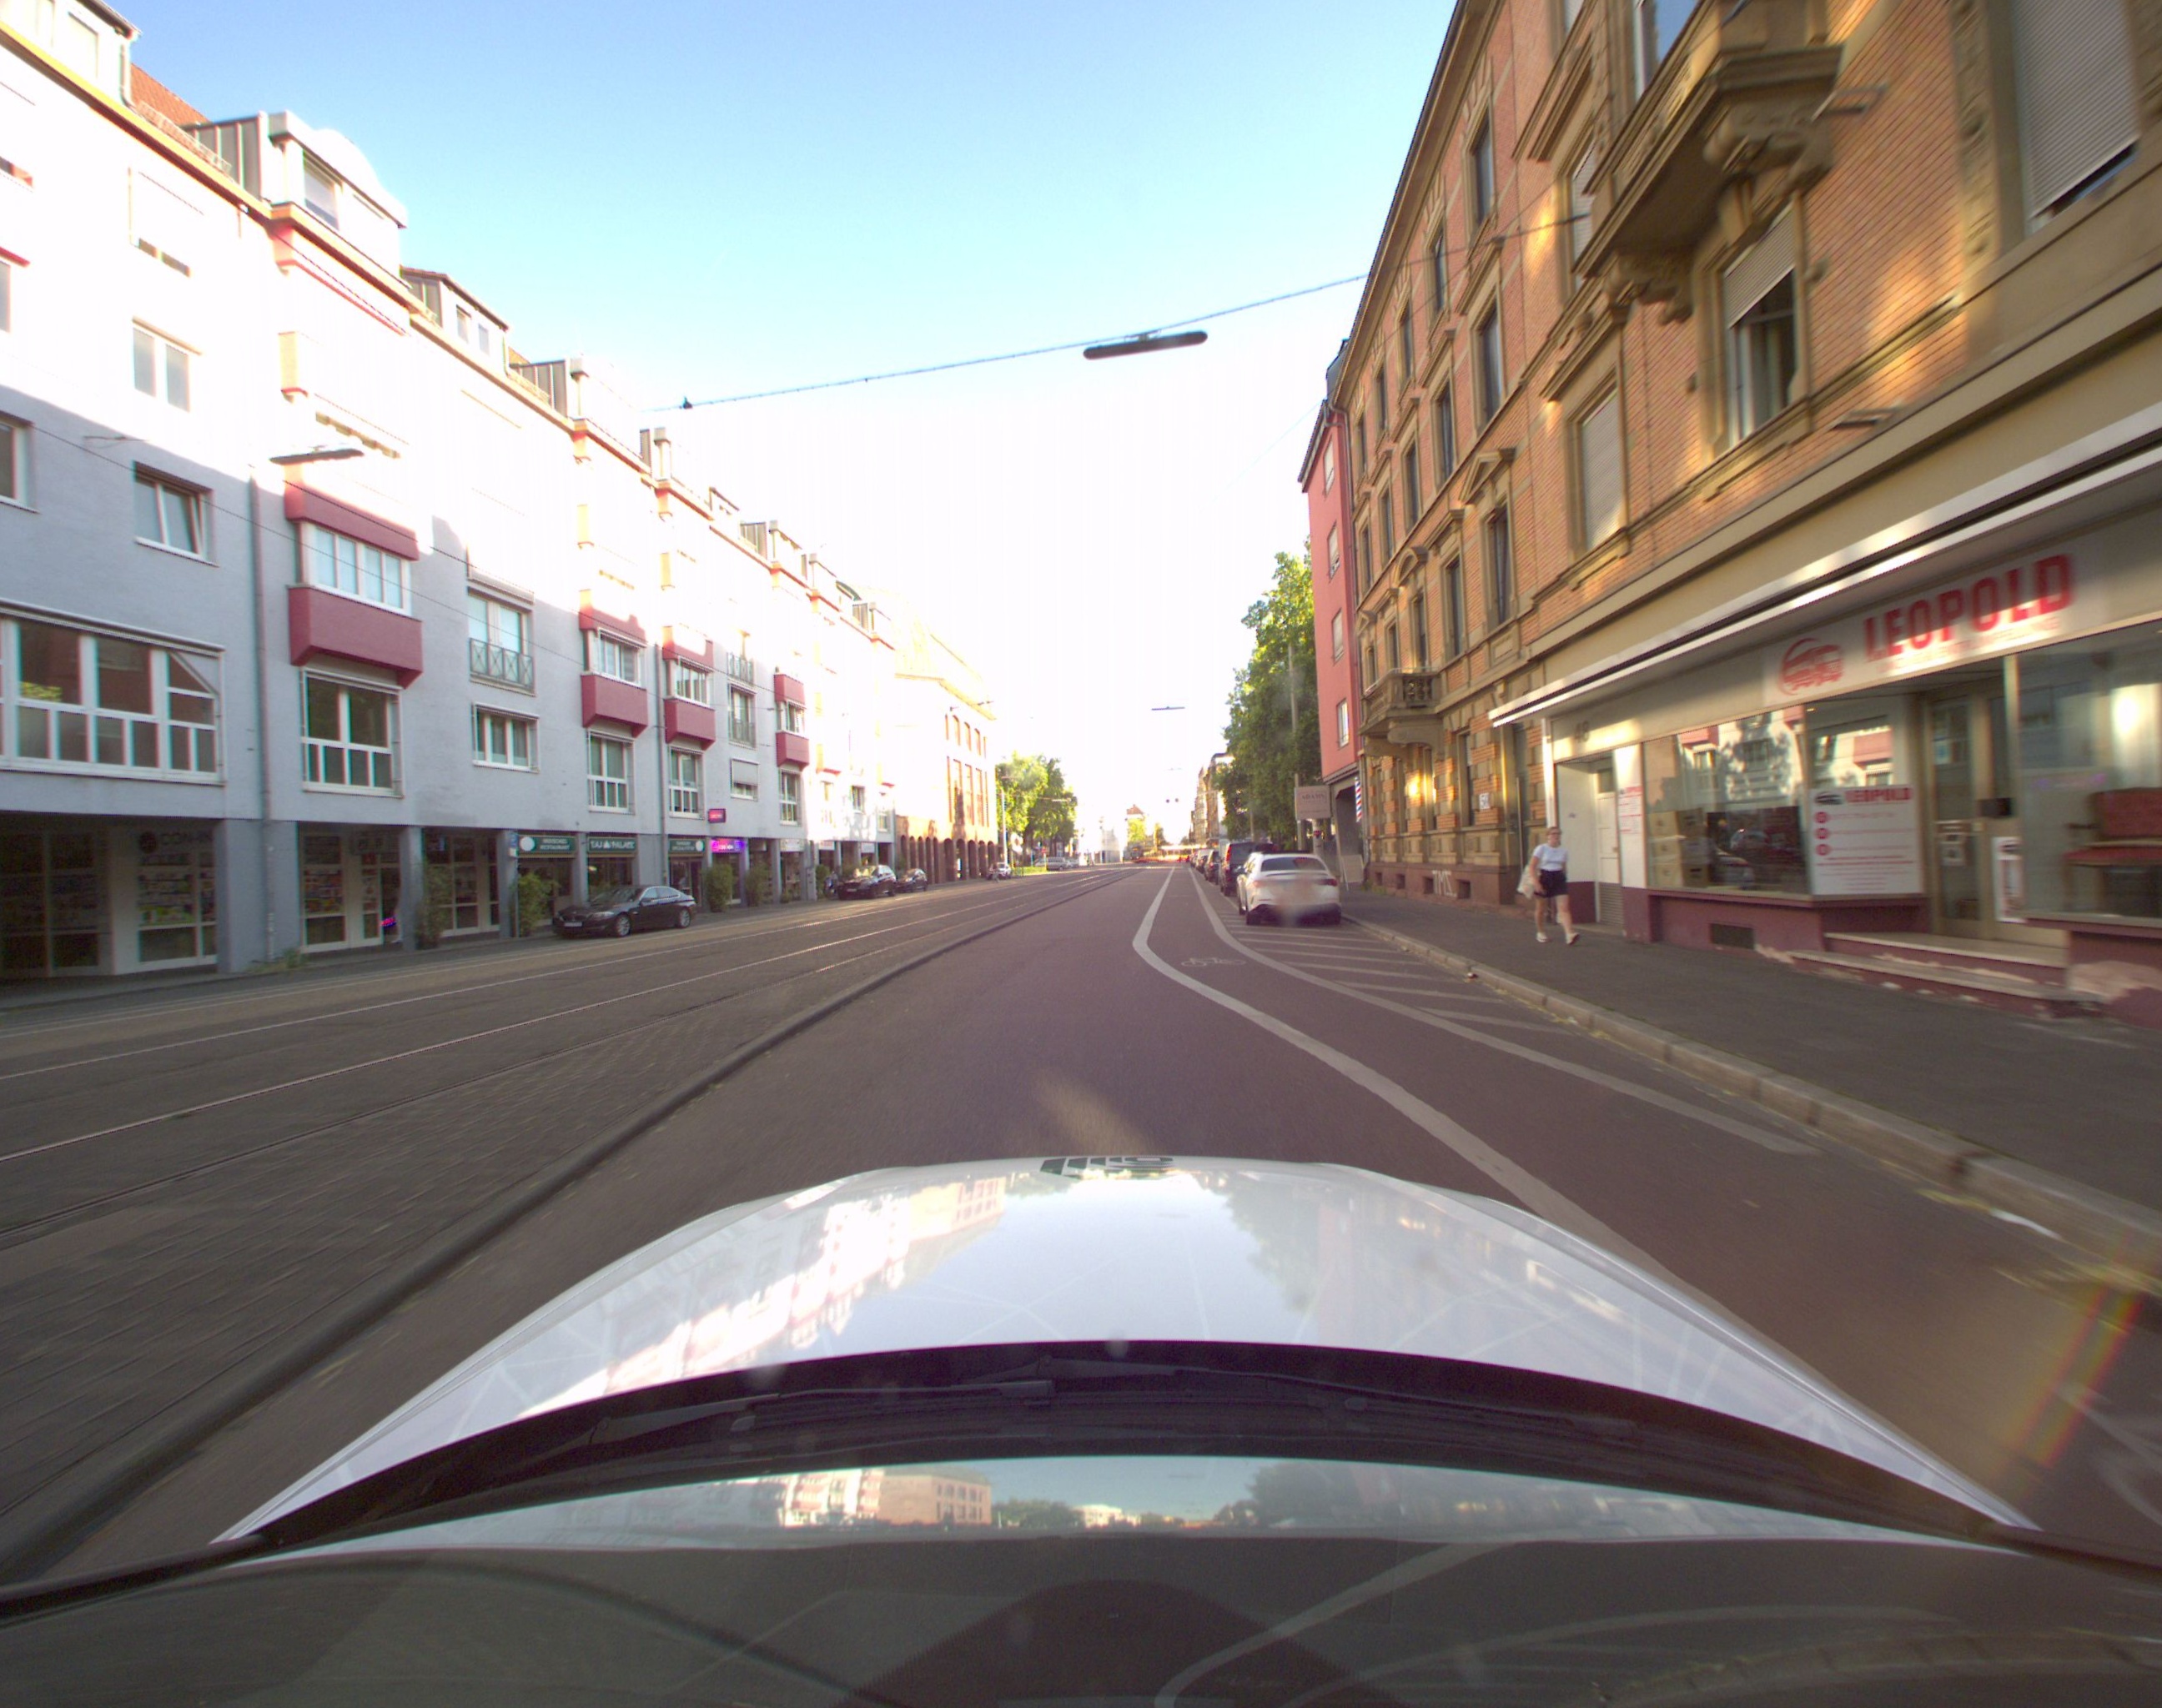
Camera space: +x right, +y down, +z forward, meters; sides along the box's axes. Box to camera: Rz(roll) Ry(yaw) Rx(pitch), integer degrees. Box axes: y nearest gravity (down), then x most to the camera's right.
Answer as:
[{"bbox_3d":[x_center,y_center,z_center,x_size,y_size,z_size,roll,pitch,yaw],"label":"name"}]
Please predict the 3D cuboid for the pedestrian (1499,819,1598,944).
[{"bbox_3d":[6.325,0.358,11.067,0.771,1.567,0.916,-6,-1,10],"label":"pedestrian"}]

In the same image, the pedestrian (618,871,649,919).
[{"bbox_3d":[-16.336,1.483,29.759,0.611,1.712,0.746,-2,0,5],"label":"pedestrian"}]

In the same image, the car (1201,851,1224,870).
[{"bbox_3d":[10.382,0.509,64.412,1.612,1.431,3.993,-2,0,7],"label":"car"}]

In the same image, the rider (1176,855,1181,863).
[{"bbox_3d":[18.183,0.960,152.282,0.879,1.481,0.714,0,0,8],"label":"rider"}]

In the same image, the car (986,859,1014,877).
[{"bbox_3d":[-7.679,1.279,77.540,1.861,1.600,4.259,-2,0,4],"label":"car"}]

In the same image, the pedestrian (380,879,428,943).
[{"bbox_3d":[-18.691,1.564,22.494,0.740,1.712,0.616,-2,0,3],"label":"pedestrian"}]

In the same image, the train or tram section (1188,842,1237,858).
[{"bbox_3d":[30.462,-0.933,188.394,11.281,3.752,2.684,0,0,-18],"label":"train or tram section"}]

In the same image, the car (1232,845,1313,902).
[{"bbox_3d":[5.428,0.519,23.563,1.722,1.496,3.967,-1,0,5],"label":"car"}]

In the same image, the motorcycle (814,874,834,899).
[{"bbox_3d":[-13.236,1.664,41.931,0.669,1.205,2.133,-1,-1,-10],"label":"motorcycle"}]

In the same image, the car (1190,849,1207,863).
[{"bbox_3d":[13.549,0.237,93.777,1.714,1.567,4.090,-3,0,6],"label":"car"}]

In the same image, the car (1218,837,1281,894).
[{"bbox_3d":[6.057,0.391,29.771,1.944,1.869,5.000,-1,0,8],"label":"car"}]

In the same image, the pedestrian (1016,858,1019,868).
[{"bbox_3d":[-8.759,1.277,112.446,0.363,1.343,0.481,0,0,-13],"label":"pedestrian"}]

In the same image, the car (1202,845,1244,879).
[{"bbox_3d":[7.941,0.420,45.824,1.940,1.788,5.190,-1,0,6],"label":"car"}]

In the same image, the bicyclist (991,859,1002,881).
[{"bbox_3d":[-6.595,1.254,63.663,0.568,1.712,0.747,-4,-1,7],"label":"bicyclist"}]

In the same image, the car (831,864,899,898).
[{"bbox_3d":[-11.479,1.417,43.666,2.082,1.713,4.823,-1,-1,3],"label":"car"}]

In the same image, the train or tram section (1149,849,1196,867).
[{"bbox_3d":[20.545,0.893,182.544,12.914,3.878,2.668,0,0,-43],"label":"train or tram section"}]

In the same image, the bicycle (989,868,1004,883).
[{"bbox_3d":[-6.584,1.674,63.454,0.579,1.077,2.189,-4,-1,6],"label":"bicycle"}]

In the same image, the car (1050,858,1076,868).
[{"bbox_3d":[-2.935,1.520,134.728,3.887,1.627,1.860,0,0,-24],"label":"car"}]

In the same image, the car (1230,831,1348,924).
[{"bbox_3d":[4.426,0.459,18.030,1.956,1.771,4.886,-1,0,8],"label":"car"}]

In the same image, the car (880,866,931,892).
[{"bbox_3d":[-10.871,1.538,50.666,1.858,1.450,3.593,-1,0,10],"label":"car"}]

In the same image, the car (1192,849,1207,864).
[{"bbox_3d":[14.541,0.304,100.040,1.612,1.813,4.090,0,0,6],"label":"car"}]

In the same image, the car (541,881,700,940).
[{"bbox_3d":[-13.777,1.636,24.747,1.861,1.439,4.712,-1,0,4],"label":"car"}]

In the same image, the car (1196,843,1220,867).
[{"bbox_3d":[11.710,0.100,75.298,1.960,2.014,4.568,-4,0,8],"label":"car"}]

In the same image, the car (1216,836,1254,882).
[{"bbox_3d":[7.610,0.246,40.436,1.695,2.120,3.716,-2,-1,10],"label":"car"}]

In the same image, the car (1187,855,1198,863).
[{"bbox_3d":[20.984,0.962,153.241,2.055,1.389,4.233,0,0,7],"label":"car"}]

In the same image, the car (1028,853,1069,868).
[{"bbox_3d":[-4.613,0.902,115.485,5.278,2.043,2.398,0,-2,-25],"label":"car"}]

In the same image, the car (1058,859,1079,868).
[{"bbox_3d":[-2.234,1.641,144.823,3.537,1.481,1.569,0,0,-26],"label":"car"}]

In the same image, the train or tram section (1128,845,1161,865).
[{"bbox_3d":[13.590,0.208,172.890,2.667,3.960,12.160,0,0,25],"label":"train or tram section"}]
